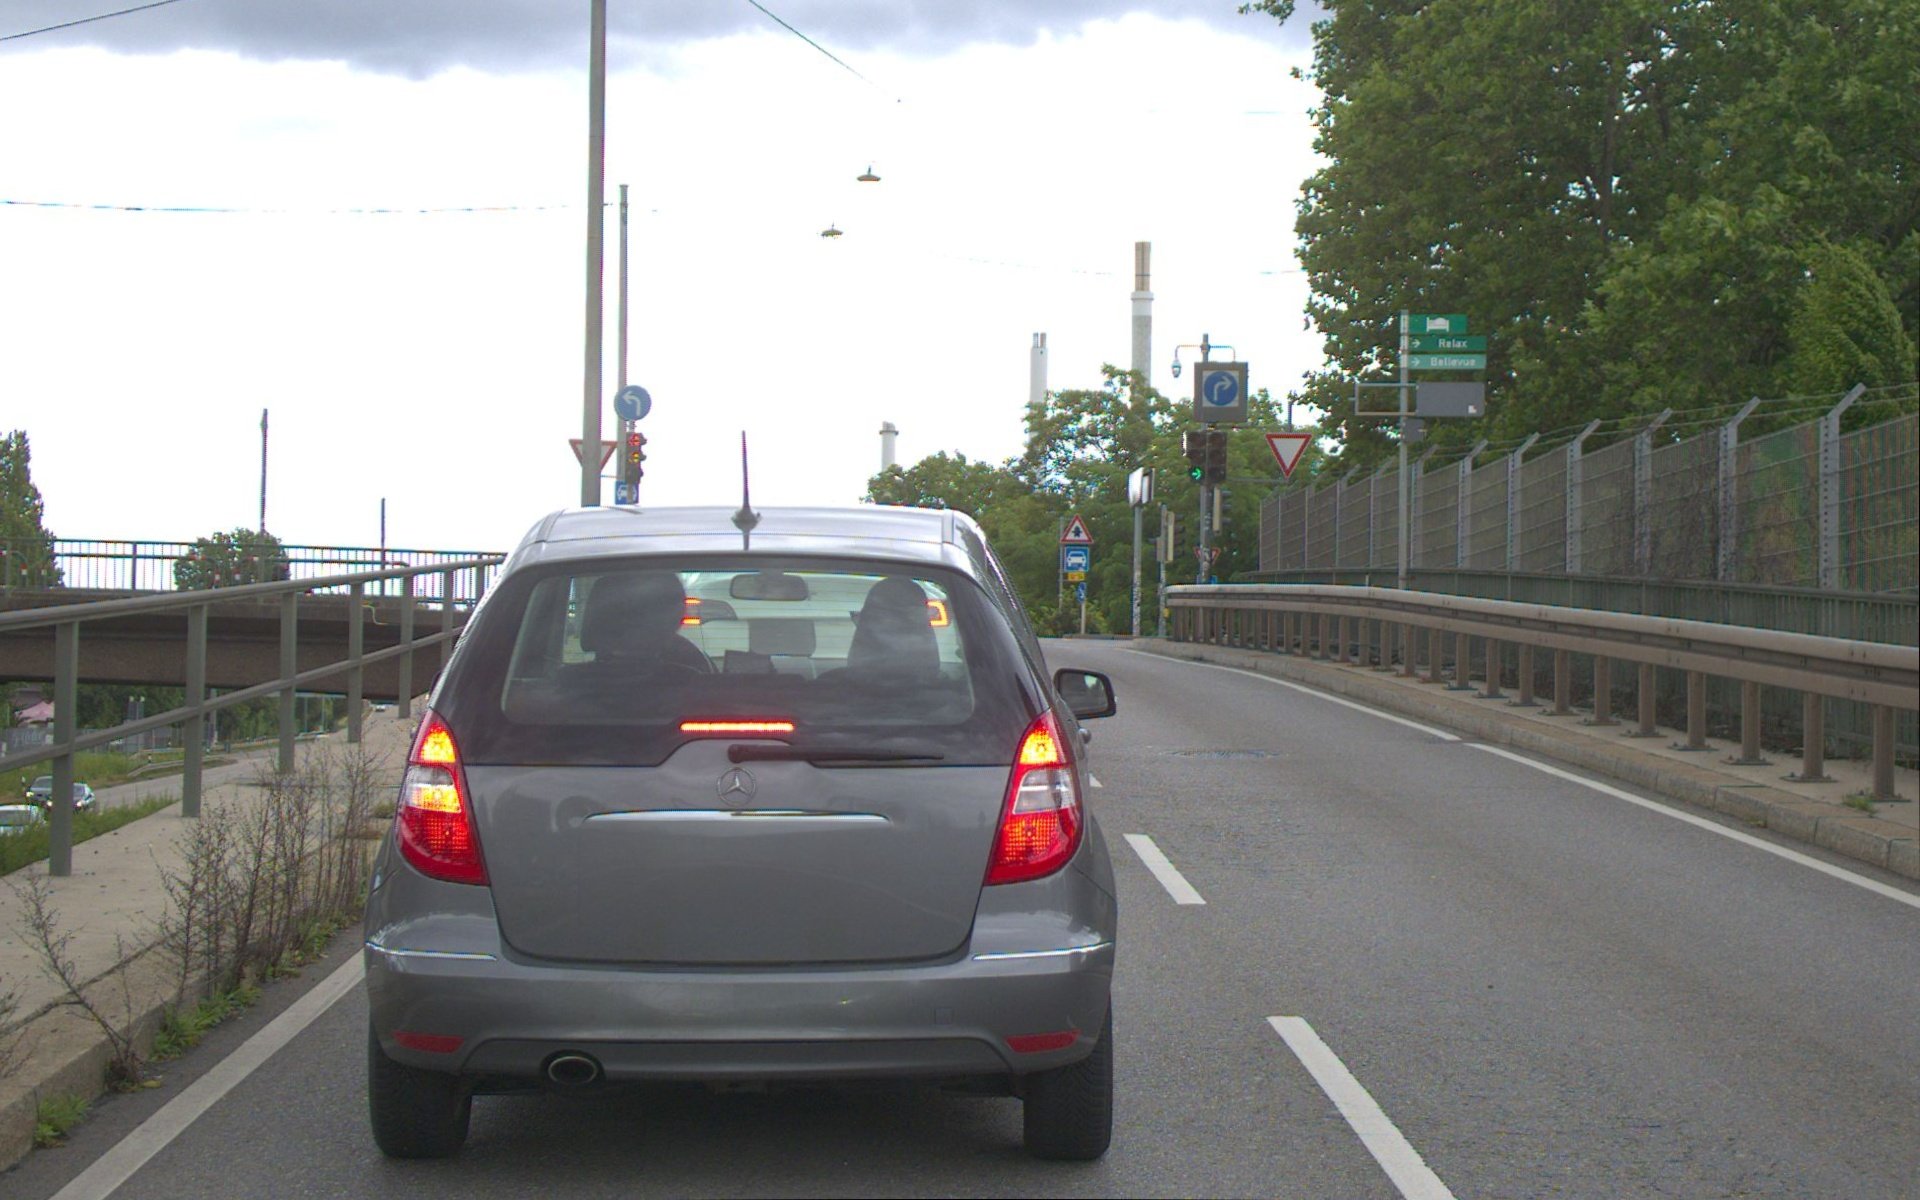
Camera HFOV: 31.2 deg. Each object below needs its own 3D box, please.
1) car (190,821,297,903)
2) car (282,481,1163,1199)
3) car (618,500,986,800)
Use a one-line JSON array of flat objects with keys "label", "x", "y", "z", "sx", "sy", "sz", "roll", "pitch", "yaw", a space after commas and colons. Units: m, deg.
[{"label": "car", "x": -16.647, "y": 6.067, "z": 80.023, "sx": 1.681, "sy": 1.730, "sz": 3.998, "roll": 0, "pitch": -2, "yaw": 0}, {"label": "car", "x": -0.404, "y": 0.529, "z": 9.449, "sx": 1.750, "sy": 1.575, "sz": 4.084, "roll": 0, "pitch": 0, "yaw": 6}, {"label": "car", "x": -0.891, "y": 0.216, "z": 20.667, "sx": 1.993, "sy": 1.597, "sz": 4.001, "roll": 0, "pitch": 2, "yaw": -1}]
